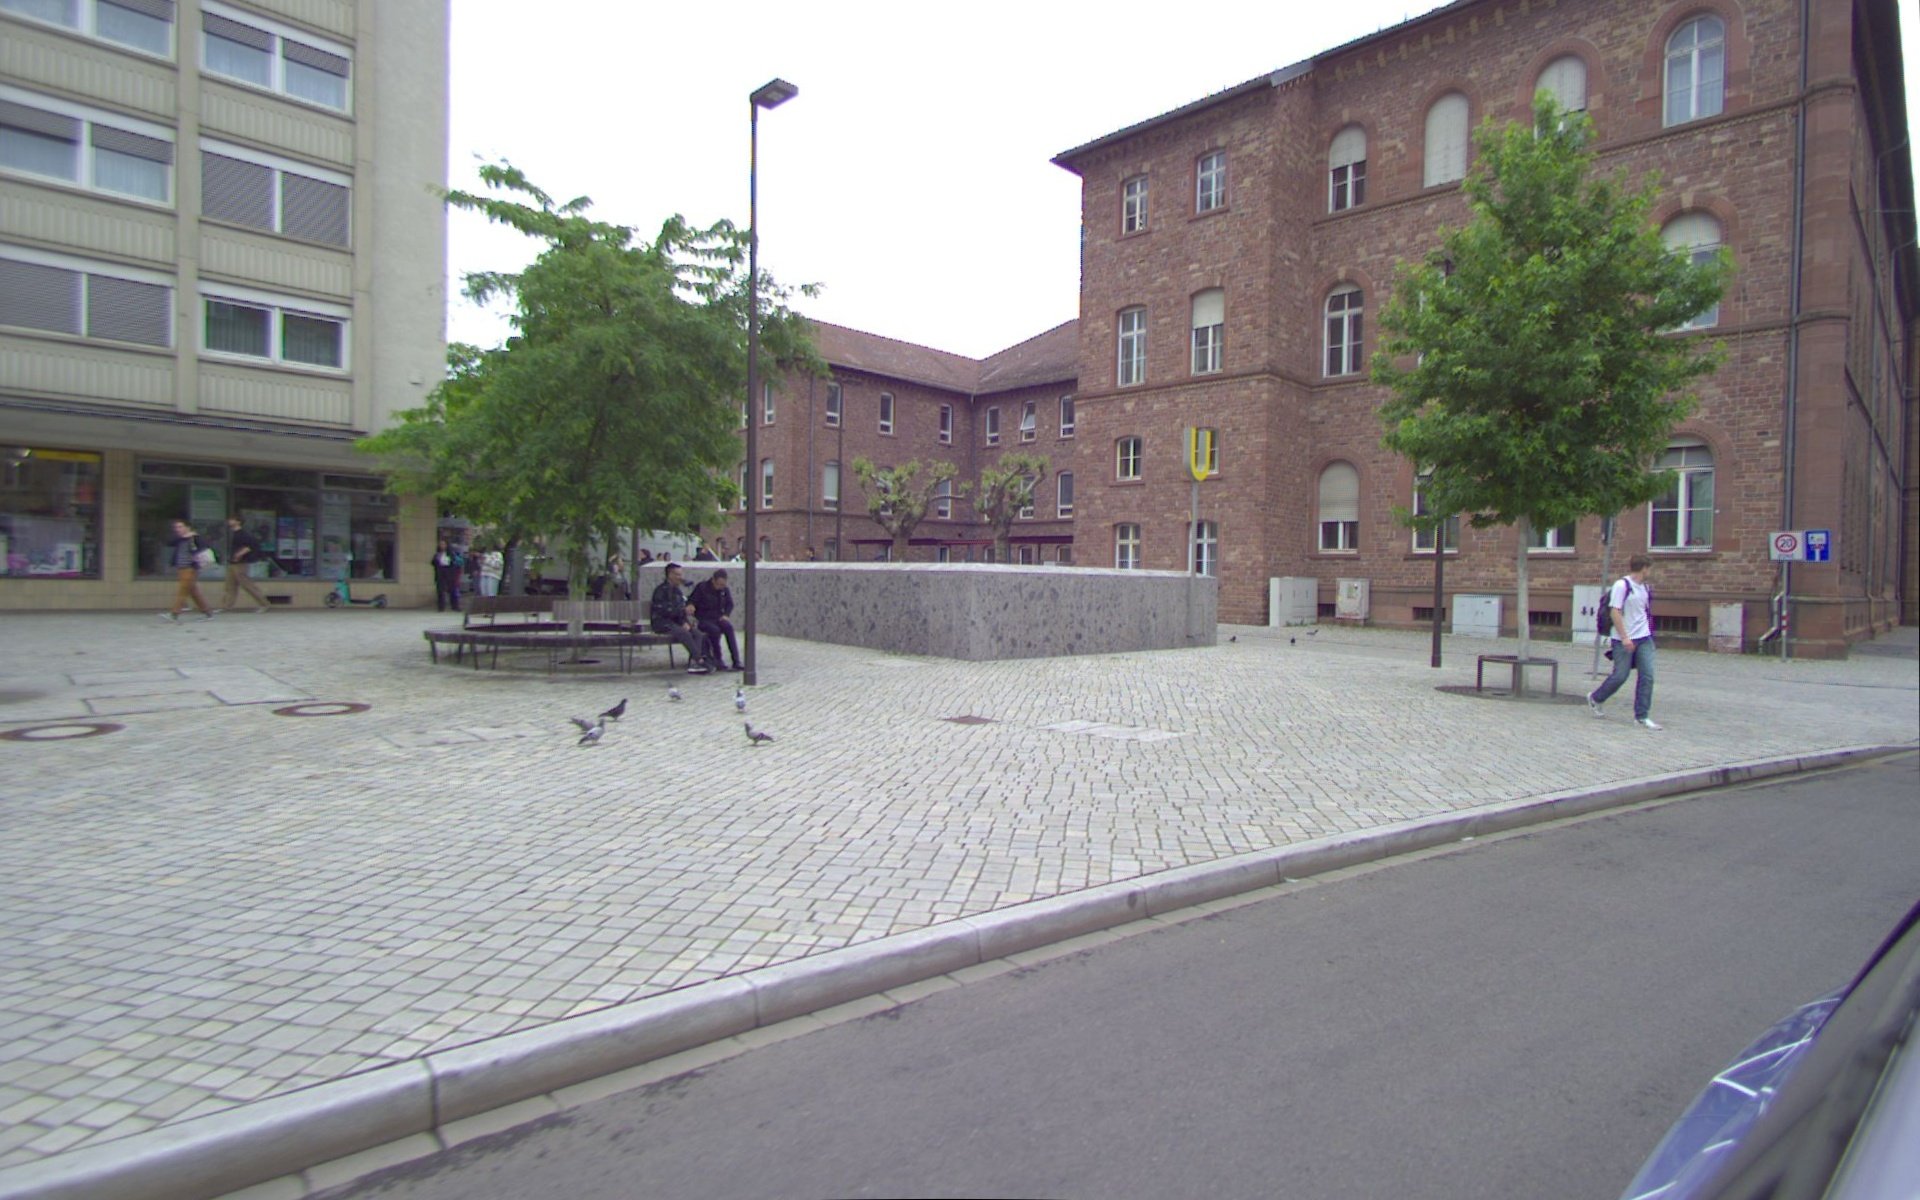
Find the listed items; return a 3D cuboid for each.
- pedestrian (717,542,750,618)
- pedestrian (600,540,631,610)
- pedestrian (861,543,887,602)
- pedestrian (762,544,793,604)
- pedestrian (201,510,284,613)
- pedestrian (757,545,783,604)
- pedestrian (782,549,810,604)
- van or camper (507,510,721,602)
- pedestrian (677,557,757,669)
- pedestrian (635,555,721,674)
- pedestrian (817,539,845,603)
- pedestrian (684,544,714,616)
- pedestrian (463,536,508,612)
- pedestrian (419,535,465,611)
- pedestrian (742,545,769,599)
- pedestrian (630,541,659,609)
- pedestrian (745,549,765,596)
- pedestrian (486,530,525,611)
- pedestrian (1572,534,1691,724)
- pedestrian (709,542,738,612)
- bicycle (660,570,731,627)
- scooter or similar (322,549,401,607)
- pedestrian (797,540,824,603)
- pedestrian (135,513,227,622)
[{"bbox_3d":[-5.116,-0.454,22.860,0.579,1.691,0.515,2,0,-24],"label":"pedestrian"},{"bbox_3d":[-8.516,-0.621,25.023,0.580,1.691,0.644,2,0,-29],"label":"pedestrian"},{"bbox_3d":[-2.537,-0.807,29.771,0.579,1.691,0.515,2,0,-23],"label":"pedestrian"},{"bbox_3d":[-6.345,-0.898,35.159,0.806,2.039,0.758,0,0,-42],"label":"pedestrian"},{"bbox_3d":[-13.844,-0.739,19.535,0.766,1.925,1.057,3,2,27],"label":"pedestrian"},{"bbox_3d":[-6.194,-0.830,32.990,0.661,1.913,0.526,0,0,42],"label":"pedestrian"},{"bbox_3d":[-5.330,-0.761,32.900,0.660,1.779,0.623,0,0,36],"label":"pedestrian"},{"bbox_3d":[-11.168,-1.351,33.174,1.994,2.754,6.454,0,1,45],"label":"van or camper"},{"bbox_3d":[-3.360,0.157,14.054,0.769,1.473,0.765,3,3,16],"label":"pedestrian"},{"bbox_3d":[-3.695,0.168,13.288,0.769,1.473,0.765,3,3,16],"label":"pedestrian"},{"bbox_3d":[-3.505,-0.783,27.487,0.579,1.691,0.515,2,0,-21],"label":"pedestrian"},{"bbox_3d":[-6.234,-0.470,24.185,0.579,1.691,0.515,2,0,-21],"label":"pedestrian"},{"bbox_3d":[-10.306,-0.552,21.989,0.583,1.606,0.641,2,0,13],"label":"pedestrian"},{"bbox_3d":[-11.229,-0.574,21.952,0.583,1.606,0.641,2,0,13],"label":"pedestrian"},{"bbox_3d":[-6.510,-0.893,32.218,0.660,1.699,0.527,0,0,36],"label":"pedestrian"},{"bbox_3d":[-8.040,-0.637,25.779,0.579,1.691,0.644,2,0,-24],"label":"pedestrian"},{"bbox_3d":[-7.211,-0.950,35.669,0.525,1.642,0.663,0,0,6],"label":"pedestrian"},{"bbox_3d":[-10.297,-0.673,22.950,0.630,1.790,0.592,2,0,-9],"label":"pedestrian"},{"bbox_3d":[7.184,0.274,10.828,0.870,1.925,0.761,3,2,44],"label":"pedestrian"},{"bbox_3d":[-5.893,-0.575,25.206,0.579,1.691,0.515,2,0,-24],"label":"pedestrian"},{"bbox_3d":[-5.613,-0.047,21.390,2.025,1.077,0.463,4,3,45],"label":"bicycle"},{"bbox_3d":[-13.053,-0.477,22.113,1.406,1.218,0.503,1,3,-21],"label":"scooter or similar"},{"bbox_3d":[-4.126,-0.789,27.928,0.579,1.691,0.515,2,0,-23],"label":"pedestrian"},{"bbox_3d":[-13.311,-0.551,17.312,0.768,1.794,1.054,3,2,34],"label":"pedestrian"}]
